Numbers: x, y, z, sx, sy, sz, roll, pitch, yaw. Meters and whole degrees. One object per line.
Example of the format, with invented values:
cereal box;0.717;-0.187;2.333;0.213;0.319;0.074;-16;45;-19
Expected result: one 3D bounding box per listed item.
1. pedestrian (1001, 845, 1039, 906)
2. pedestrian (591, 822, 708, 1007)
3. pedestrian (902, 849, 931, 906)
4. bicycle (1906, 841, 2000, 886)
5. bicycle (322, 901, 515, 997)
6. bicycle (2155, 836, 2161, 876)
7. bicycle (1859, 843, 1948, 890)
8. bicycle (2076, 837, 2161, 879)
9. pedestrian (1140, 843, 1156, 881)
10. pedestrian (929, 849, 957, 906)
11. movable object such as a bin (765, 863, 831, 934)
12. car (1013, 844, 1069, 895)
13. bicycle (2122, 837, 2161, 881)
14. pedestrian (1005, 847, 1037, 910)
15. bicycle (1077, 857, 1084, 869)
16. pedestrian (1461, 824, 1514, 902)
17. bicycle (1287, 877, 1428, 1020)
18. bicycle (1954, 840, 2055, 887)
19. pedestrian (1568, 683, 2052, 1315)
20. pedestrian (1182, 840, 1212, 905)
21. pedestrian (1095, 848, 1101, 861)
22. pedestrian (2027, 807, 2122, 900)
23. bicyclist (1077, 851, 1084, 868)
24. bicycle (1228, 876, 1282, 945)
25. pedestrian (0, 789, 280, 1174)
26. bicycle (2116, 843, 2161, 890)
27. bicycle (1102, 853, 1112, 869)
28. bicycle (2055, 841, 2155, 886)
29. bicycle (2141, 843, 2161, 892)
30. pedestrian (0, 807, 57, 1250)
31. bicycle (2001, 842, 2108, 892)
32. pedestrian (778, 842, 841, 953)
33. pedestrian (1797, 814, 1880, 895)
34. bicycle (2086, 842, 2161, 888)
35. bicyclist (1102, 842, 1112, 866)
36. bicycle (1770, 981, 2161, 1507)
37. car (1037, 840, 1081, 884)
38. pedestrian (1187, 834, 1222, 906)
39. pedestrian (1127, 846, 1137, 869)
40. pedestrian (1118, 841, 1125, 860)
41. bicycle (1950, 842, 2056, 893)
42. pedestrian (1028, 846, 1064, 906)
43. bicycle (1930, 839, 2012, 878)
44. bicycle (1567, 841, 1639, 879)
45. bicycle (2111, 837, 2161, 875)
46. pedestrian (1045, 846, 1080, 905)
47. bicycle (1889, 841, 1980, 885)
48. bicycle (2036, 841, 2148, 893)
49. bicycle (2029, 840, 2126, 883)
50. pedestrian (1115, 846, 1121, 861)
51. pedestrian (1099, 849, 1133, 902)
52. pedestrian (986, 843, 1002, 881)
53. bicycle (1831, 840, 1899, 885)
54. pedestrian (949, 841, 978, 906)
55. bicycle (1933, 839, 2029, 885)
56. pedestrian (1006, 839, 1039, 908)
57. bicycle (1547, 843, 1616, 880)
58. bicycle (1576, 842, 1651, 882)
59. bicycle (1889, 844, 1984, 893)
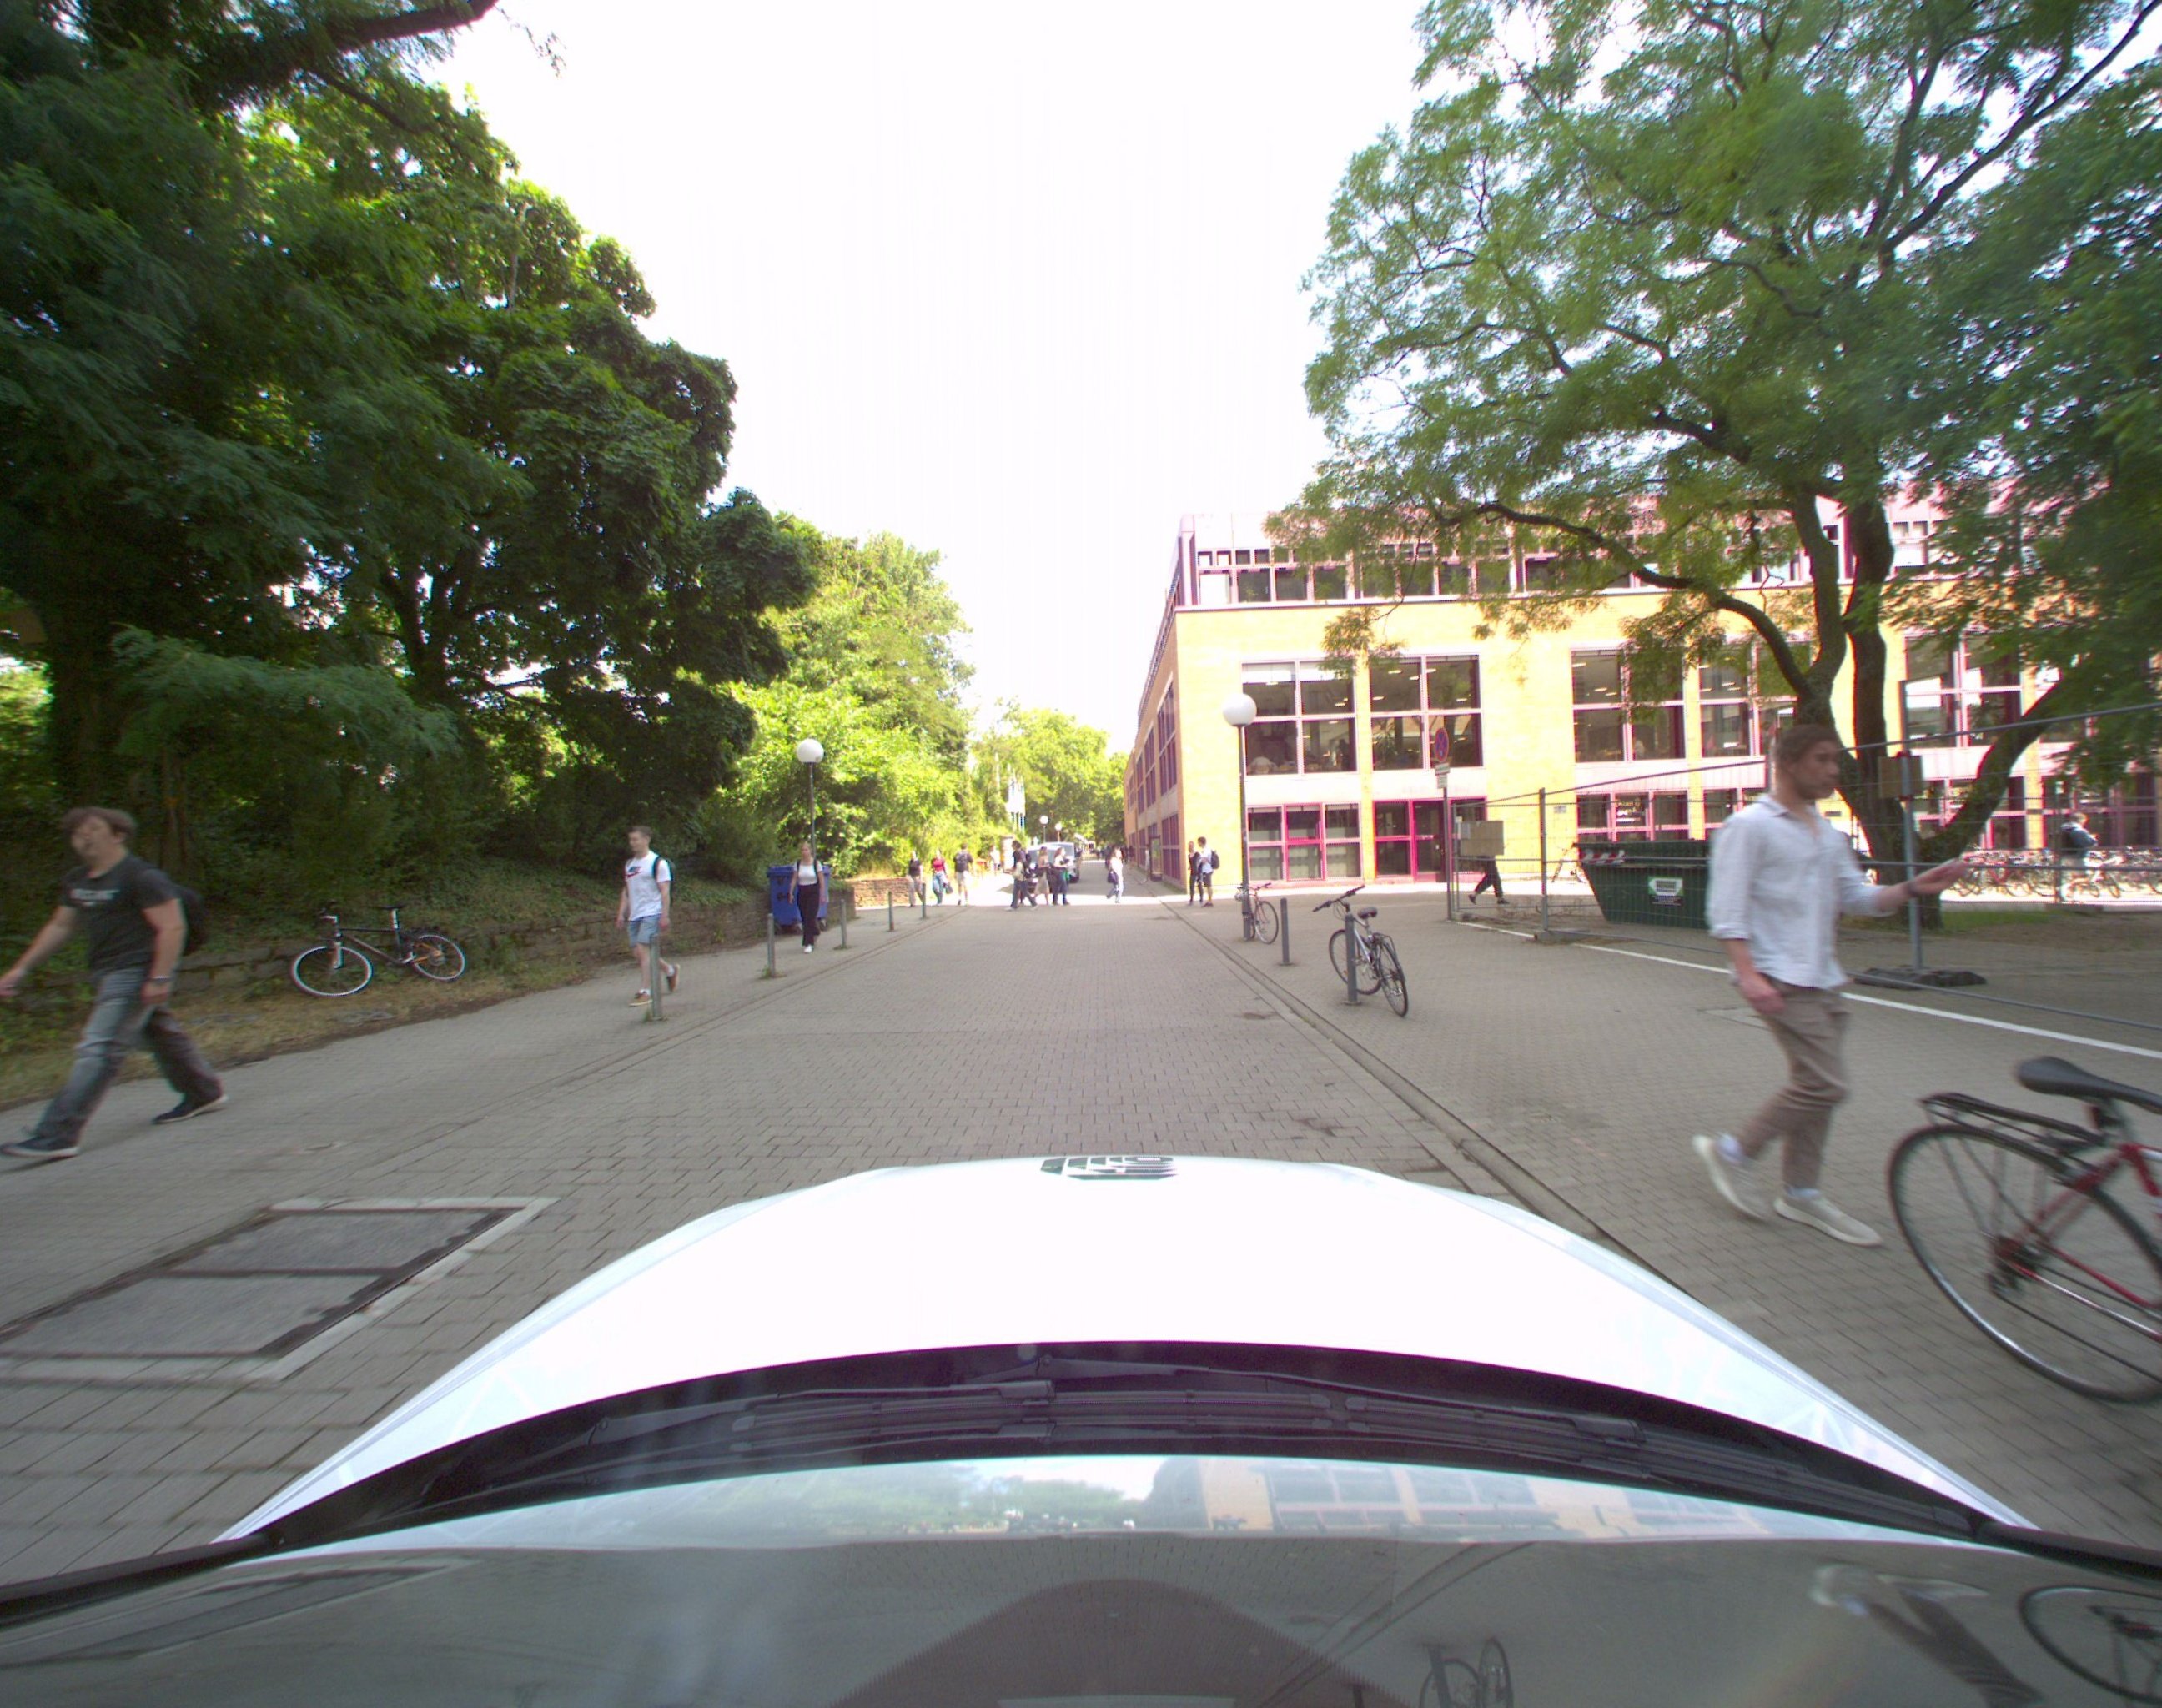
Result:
pedestrian;-1.755;0.619;23.541;0.881;1.672;0.645;-4;1;8
pedestrian;-4.680;0.627;8.908;0.722;1.881;1.081;-1;-1;-3
pedestrian;-4.791;0.678;23.763;0.681;1.620;0.977;-1;-1;-3
bicycle;23.089;0.239;21.573;1.990;1.169;0.474;0;0;0
bicycle;-7.379;1.016;9.185;0.418;0.910;1.747;-2;-2;16
bicycle;32.965;0.054;23.970;1.990;1.169;0.545;0;0;0
bicycle;20.911;0.314;20.715;1.800;1.169;0.474;0;0;-1
bicycle;29.476;0.116;23.033;1.990;1.169;0.545;0;0;0
pedestrian;3.107;0.363;37.860;0.680;1.747;0.783;-1;-1;1
pedestrian;-4.020;0.667;23.828;0.681;1.620;0.912;-1;-1;-3
movable object such as a bin;-5.658;0.859;16.357;0.704;1.336;1.243;1;0;11
car;-1.467;0.541;31.524;1.784;1.761;4.482;-2;0;1
bicycle;29.444;0.124;21.990;1.990;1.169;0.545;0;0;0
pedestrian;-1.588;0.650;21.652;0.778;1.620;0.684;-1;-1;-1
bicycle;-0.008;0.883;78.707;0.585;1.083;1.812;-2;0;-2
pedestrian;8.817;0.204;17.691;0.847;1.651;0.589;-1;-1;8
bicycle;2.470;0.792;7.496;0.706;1.093;1.749;-2;0;1
bicycle;23.188;0.239;20.459;1.990;1.169;0.474;0;0;0
pedestrian;2.620;0.418;3.046;0.786;1.845;1.109;-1;0;-23
pedestrian;3.084;0.487;21.609;0.692;1.672;0.589;-3;-1;8
pedestrian;2.187;0.025;105.132;0.722;1.672;0.748;-3;-1;2
pedestrian;19.231;-0.002;15.783;0.900;1.728;0.684;-2;-2;-4
bicyclist;-0.012;0.507;78.676;0.585;1.573;0.829;-2;0;-2
bicycle;2.765;0.869;13.073;0.449;0.962;1.740;-4;0;1
pedestrian;-5.344;0.627;4.528;0.681;1.873;1.119;-1;-1;-3
bicycle;27.092;0.301;20.264;1.990;1.169;0.545;0;0;0
bicycle;1.897;0.489;59.206;0.585;1.083;1.906;-2;0;-2
bicycle;27.335;0.249;21.746;1.990;1.169;0.545;0;0;0
bicycle;26.931;0.320;19.664;1.990;1.169;0.545;0;0;0
pedestrian;-4.554;0.683;2.887;0.682;1.724;0.904;-1;0;-1
bicycle;23.161;0.298;19.381;1.990;1.169;0.474;0;0;0
pedestrian;-4.407;0.685;13.272;0.681;1.728;1.001;-1;0;-3
pedestrian;15.978;0.025;17.198;1.038;1.651;0.705;-1;-1;8
bicycle;27.366;0.273;21.100;1.990;1.169;0.545;0;0;0
bicyclist;1.880;-0.031;59.221;0.585;1.716;0.665;-2;0;-2
bicycle;2.438;0.893;1.760;0.394;0.936;1.732;-4;0;1
car;-1.010;0.357;40.508;1.877;1.974;5.216;-2;0;1
pedestrian;3.173;0.413;20.940;0.762;1.794;0.589;-3;-1;8
pedestrian;3.730;0.238;59.575;0.584;1.672;0.699;-3;-1;2
pedestrian;3.662;-0.289;73.357;0.584;1.672;0.818;-3;-1;3
bicycle;21.277;0.304;18.811;1.798;1.169;0.475;0;0;4
pedestrian;-0.986;0.621;23.027;0.881;1.672;0.560;-1;-1;8
bicycle;27.439;0.127;25.113;1.991;1.169;0.545;0;0;-2
bicycle;15.464;0.176;24.132;1.803;1.110;0.524;-1;0;0
bicycle;33.091;0.054;25.115;1.990;1.169;0.545;0;0;0
pedestrian;-0.533;0.615;23.739;0.926;1.672;0.588;-2;-1;0
bicycle;23.191;0.236;22.145;1.990;1.169;0.474;0;0;0
bicycle;23.285;0.291;18.766;1.990;1.169;0.474;0;0;0
bicycle;27.311;0.202;22.330;1.990;1.169;0.545;0;0;0
pedestrian;4.757;-0.081;105.262;0.651;1.922;0.818;-3;-1;2
pedestrian;1.049;0.633;24.343;0.881;1.542;0.745;-3;0;8
pedestrian;-4.303;0.417;40.314;0.680;1.844;0.783;-1;-1;1
bicycle;21.165;0.221;21.972;1.809;1.169;0.471;0;0;-16
pedestrian;-3.415;0.555;23.685;0.680;1.844;0.783;-1;-1;1
bicycle;23.243;0.192;21.044;1.990;1.169;0.474;0;0;0
pedestrian;-1.589;0.523;22.349;0.823;1.844;0.684;-1;-1;-1
bicycle;15.326;0.226;24.953;1.804;1.110;0.523;-1;0;-1
bicycle;15.066;0.227;23.069;1.804;1.110;0.523;-1;0;-2
bicycle;20.960;0.356;19.958;1.799;1.169;0.474;0;0;1
